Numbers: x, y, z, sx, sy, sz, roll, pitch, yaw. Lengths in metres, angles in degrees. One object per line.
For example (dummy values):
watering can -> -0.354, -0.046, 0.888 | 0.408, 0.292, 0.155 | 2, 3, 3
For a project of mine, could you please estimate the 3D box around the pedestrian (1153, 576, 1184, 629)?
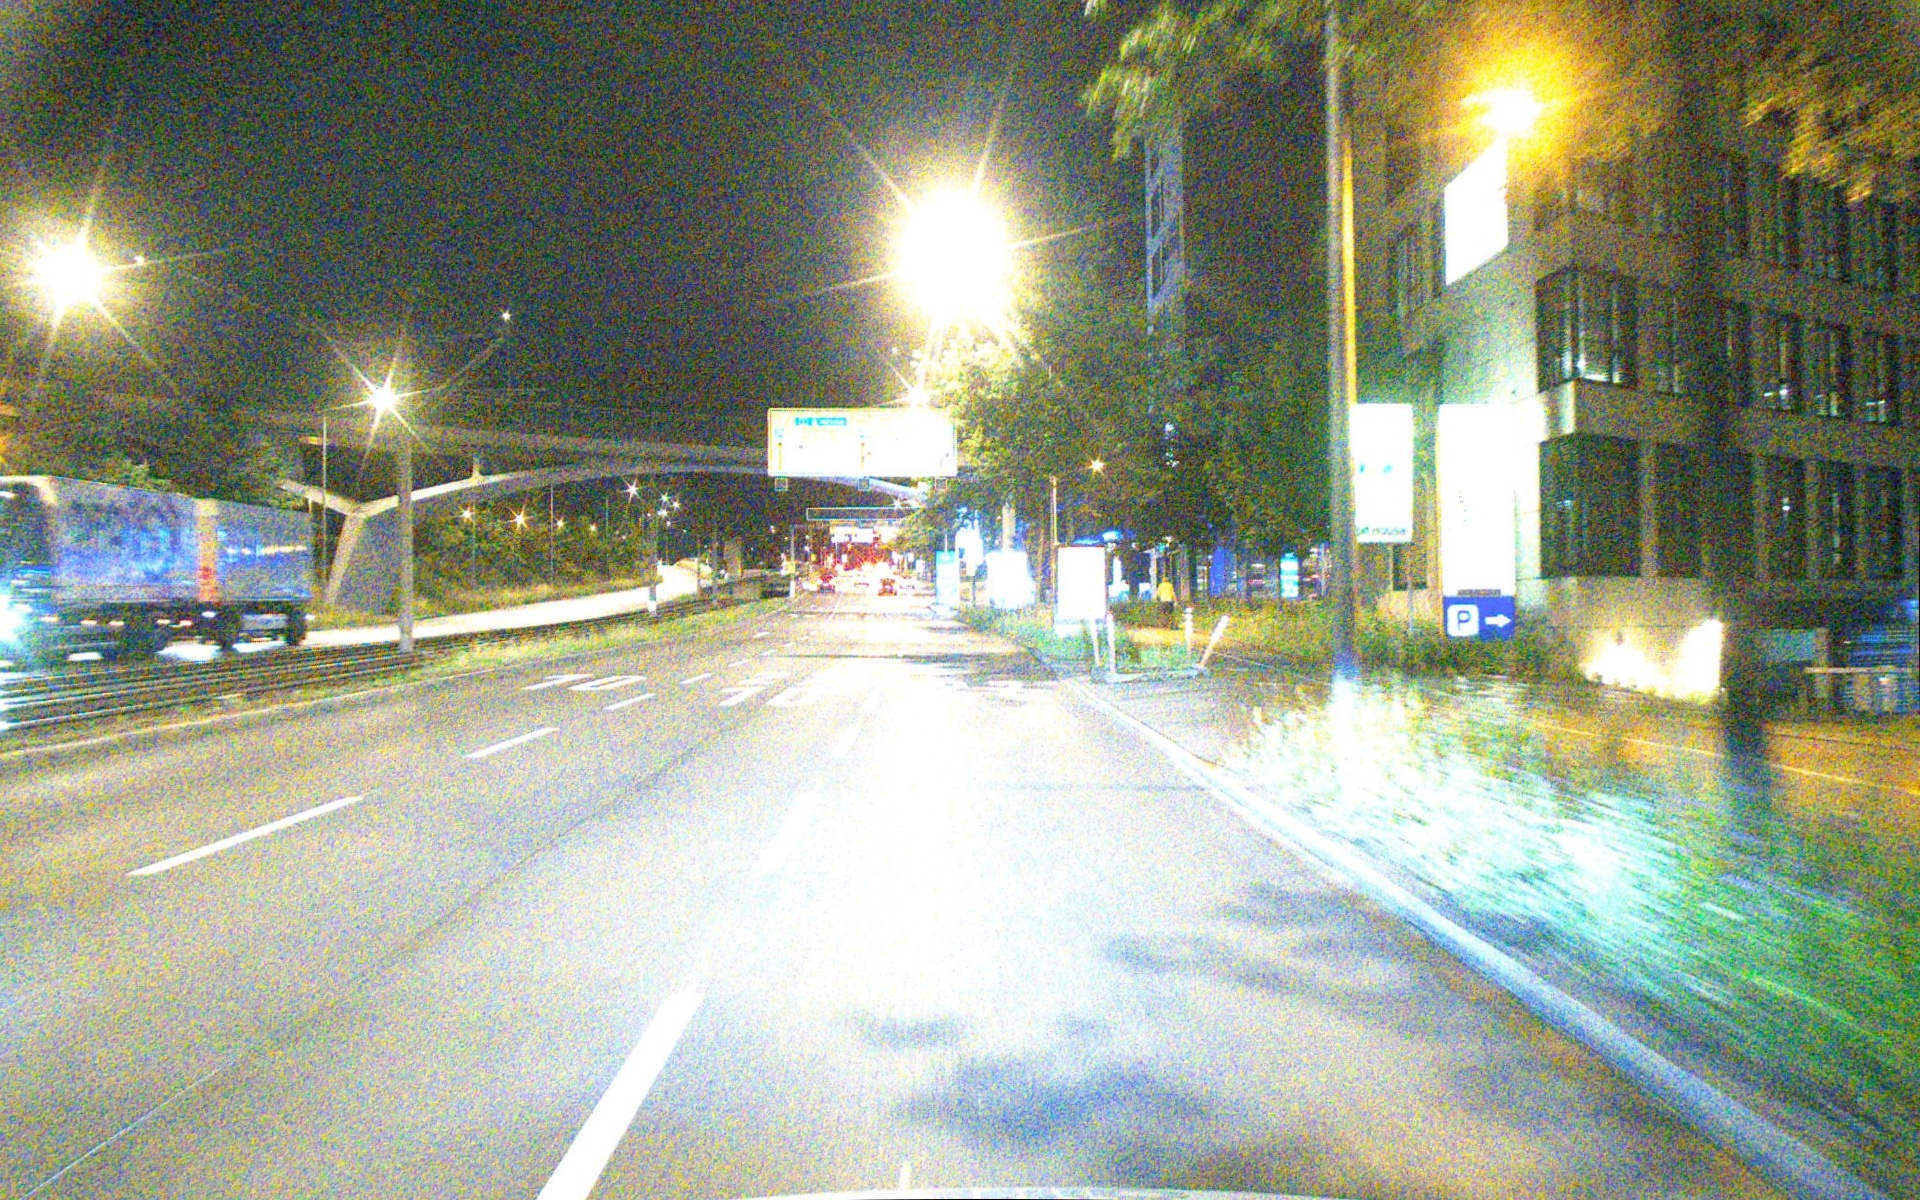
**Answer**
pedestrian -> 6.888, 0.085, 54.604 | 0.835, 1.737, 0.957 | 1, -1, -3

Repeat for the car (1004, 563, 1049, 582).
car -> 6.231, -2.590, 154.498 | 4.037, 1.549, 1.821 | -2, -1, -2

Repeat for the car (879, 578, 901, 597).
car -> -6.564, -1.179, 155.775 | 1.928, 1.741, 3.999 | 1, 0, -1

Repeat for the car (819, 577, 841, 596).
car -> -12.672, -1.277, 161.203 | 1.928, 1.741, 3.999 | 1, 0, -1

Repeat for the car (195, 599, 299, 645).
car -> -25.012, 0.741, 58.186 | 1.946, 1.507, 4.201 | -2, 0, -3

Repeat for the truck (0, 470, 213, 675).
truck -> -20.909, -0.558, 37.501 | 3.608, 4.024, 10.414 | 1, 0, -3

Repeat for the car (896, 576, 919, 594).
car -> -6.163, -1.739, 194.660 | 2.598, 2.049, 5.297 | 1, 0, -1

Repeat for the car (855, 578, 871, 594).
car -> -11.258, -1.661, 192.327 | 1.746, 1.741, 3.999 | 1, 0, -1

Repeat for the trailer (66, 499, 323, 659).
trailer -> -21.425, -0.513, 47.023 | 3.622, 4.059, 8.390 | 1, 0, -3
